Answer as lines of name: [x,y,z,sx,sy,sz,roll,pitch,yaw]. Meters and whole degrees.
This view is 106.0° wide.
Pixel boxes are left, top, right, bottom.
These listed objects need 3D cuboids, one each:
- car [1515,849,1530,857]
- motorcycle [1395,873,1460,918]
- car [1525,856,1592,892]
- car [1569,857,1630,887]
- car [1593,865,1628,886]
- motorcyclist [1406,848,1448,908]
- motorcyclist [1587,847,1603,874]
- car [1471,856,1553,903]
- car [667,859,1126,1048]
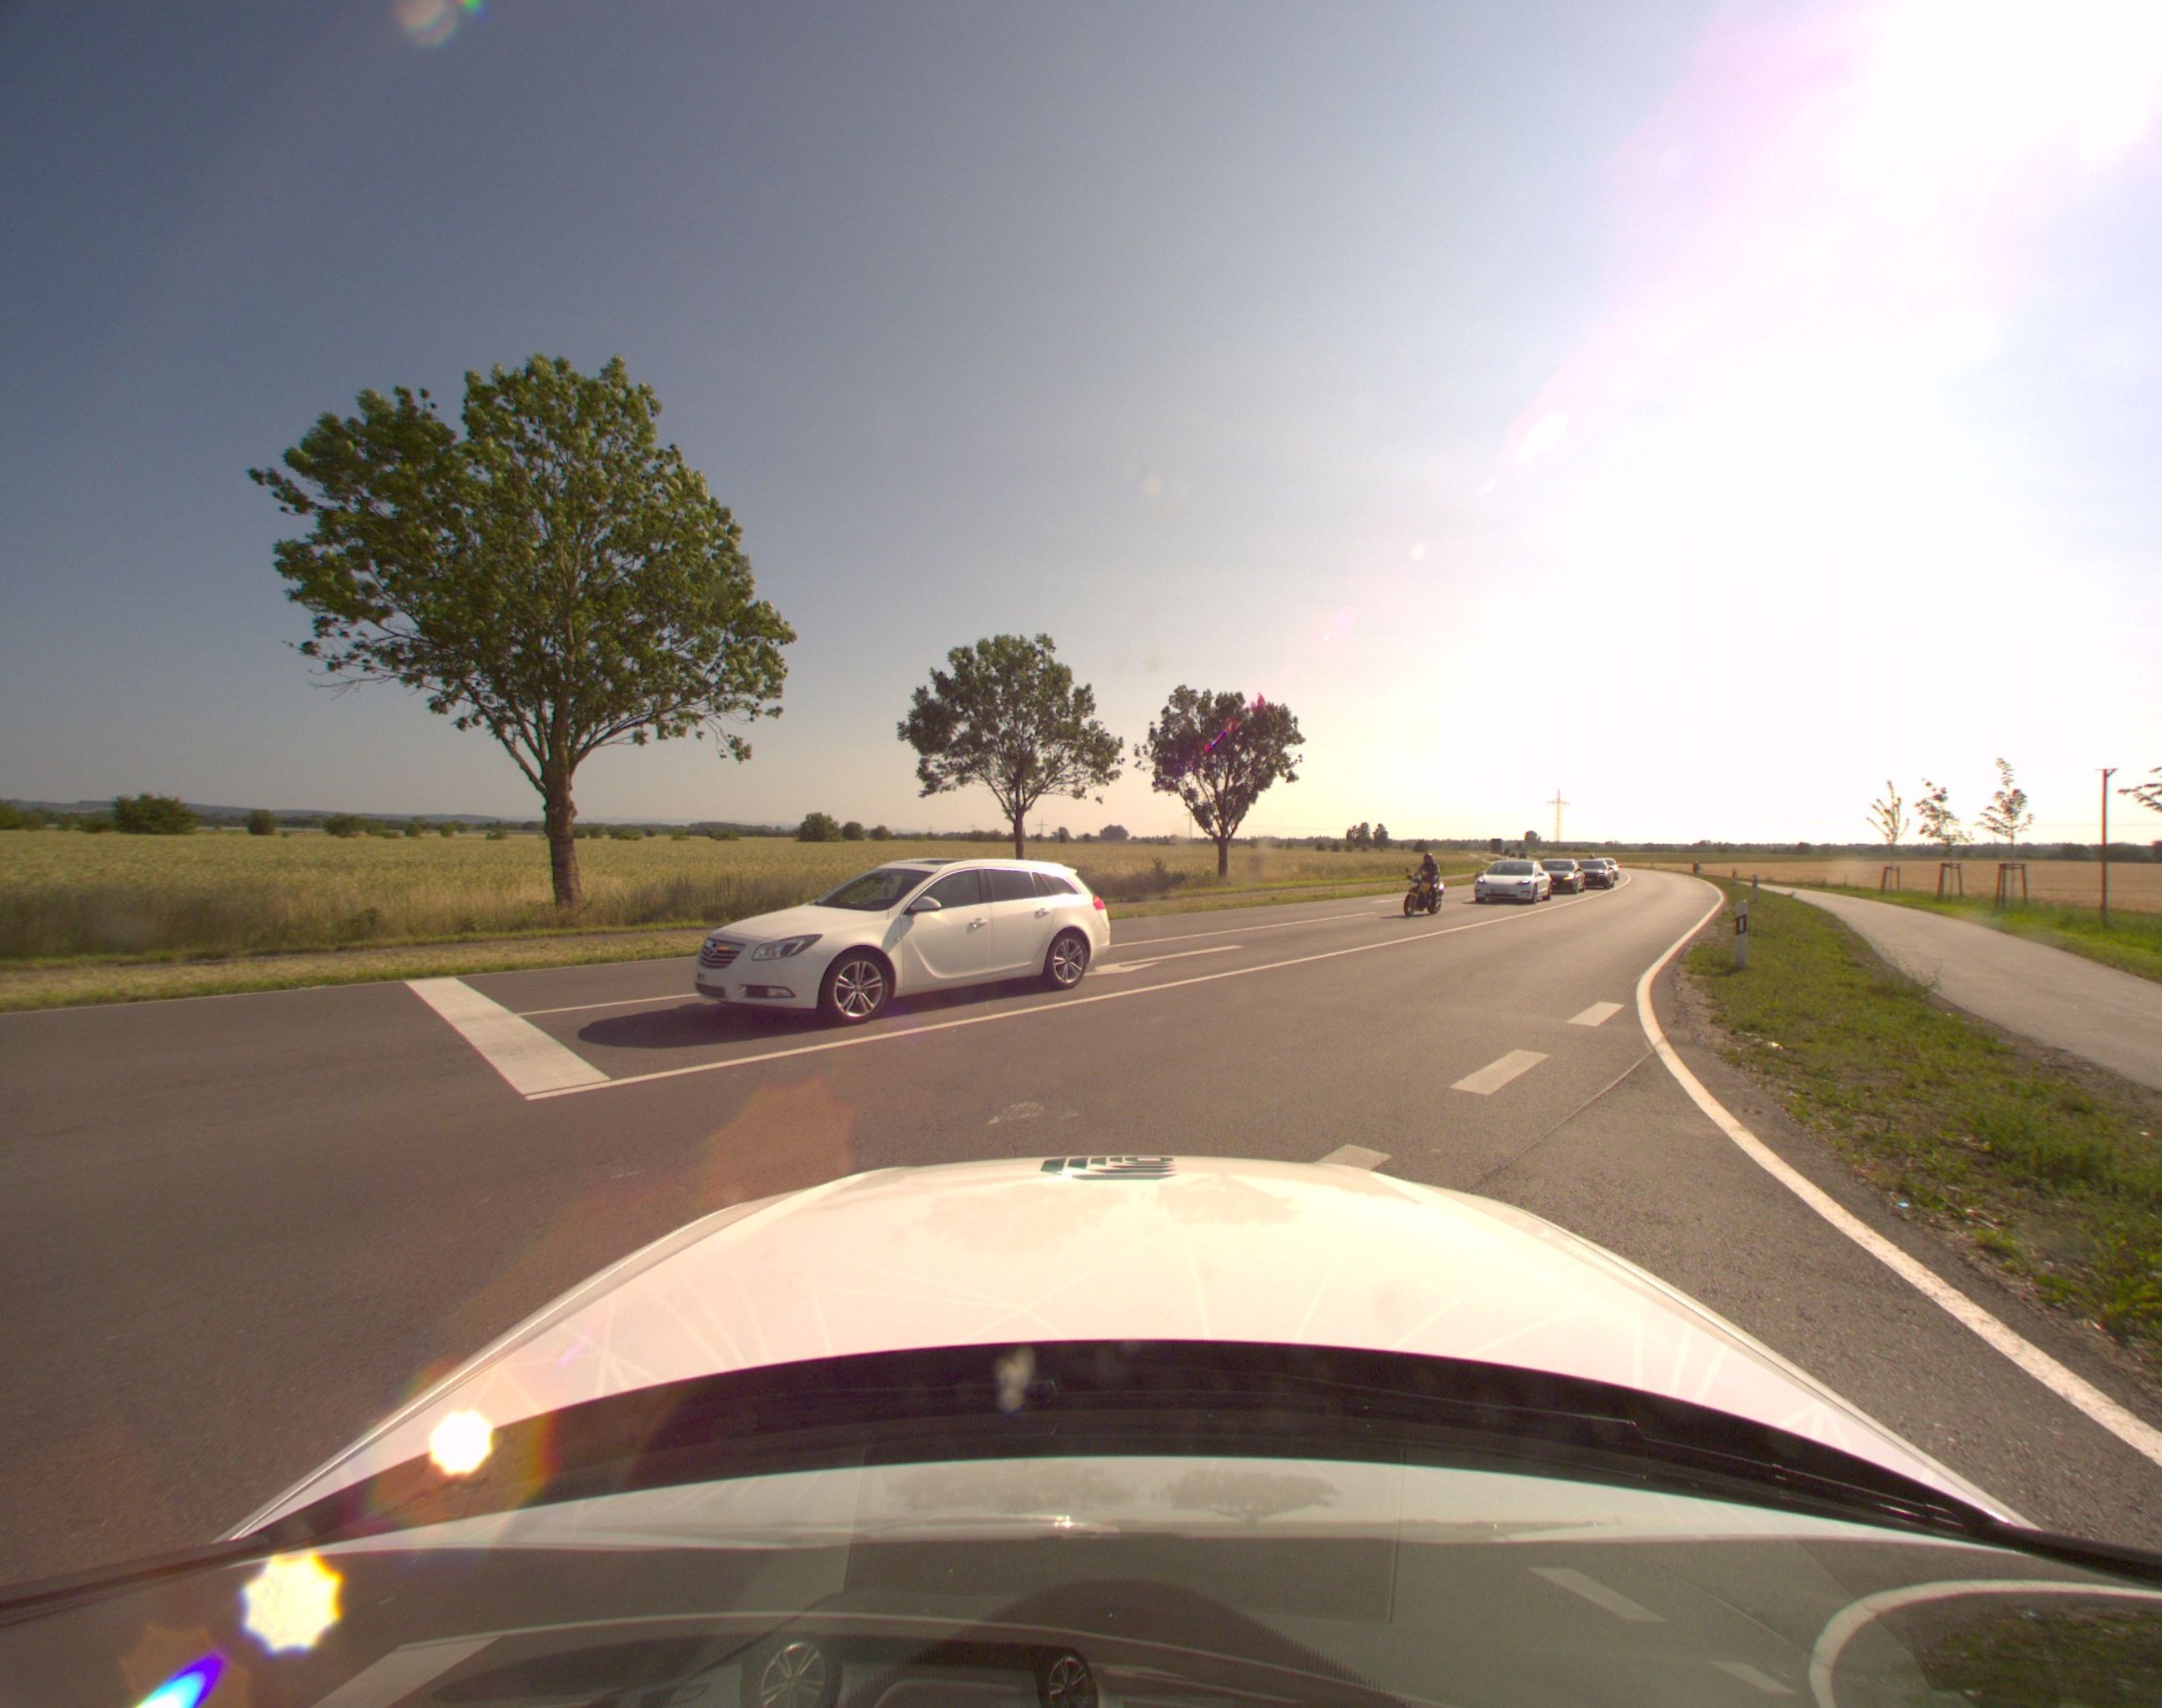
car: [112.986,-0.304,208.654,1.829,1.833,4.478,3,2,8]
motorcycle: [9.137,1.050,21.400,0.888,1.043,2.444,0,0,40]
car: [20.773,0.836,35.345,1.872,1.461,4.333,0,0,39]
car: [25.962,0.860,40.711,1.872,1.436,4.826,0,0,41]
car: [36.882,1.469,56.708,1.670,1.403,4.025,-1,-1,38]
motorcyclist: [9.073,0.609,21.343,0.672,1.515,1.188,0,0,41]
motorcyclist: [28.619,0.352,45.330,0.671,1.495,0.852,0,0,39]
car: [14.941,0.824,28.131,1.872,1.466,4.303,0,0,37]
car: [-1.677,0.811,8.872,1.743,1.492,4.737,0,0,42]
